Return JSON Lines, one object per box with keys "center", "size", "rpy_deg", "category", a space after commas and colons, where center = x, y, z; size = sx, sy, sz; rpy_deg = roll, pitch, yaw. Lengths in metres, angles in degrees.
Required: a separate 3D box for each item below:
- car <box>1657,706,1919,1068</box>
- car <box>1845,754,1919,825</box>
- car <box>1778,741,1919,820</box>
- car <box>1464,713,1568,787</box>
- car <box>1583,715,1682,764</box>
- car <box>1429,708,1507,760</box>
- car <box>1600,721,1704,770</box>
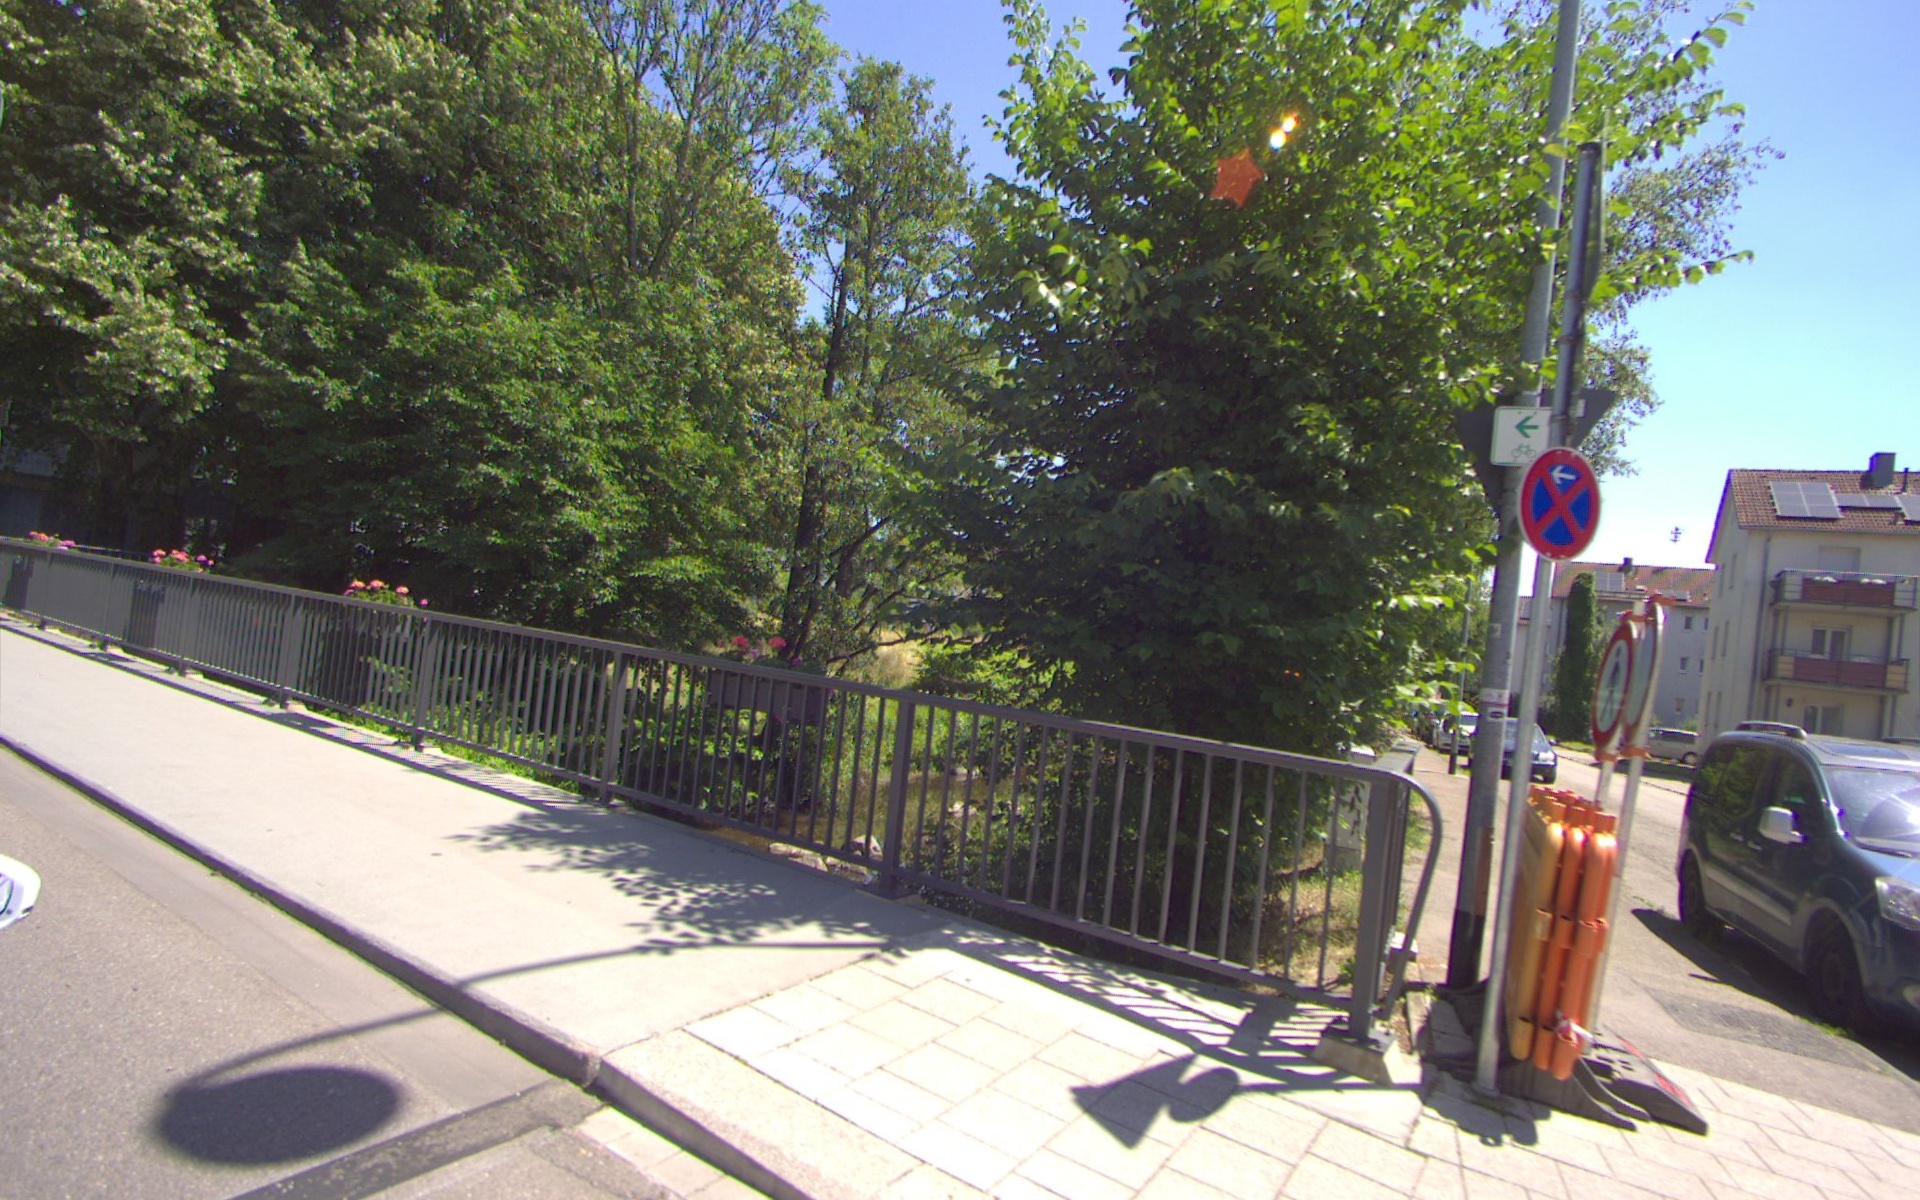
{"center": [6.529, 1.798, 6.993], "size": [1.718, 1.858, 4.356], "rpy_deg": [6, -3, 23], "category": "car"}
{"center": [26.371, 5.233, 26.568], "size": [3.926, 1.582, 2.001], "rpy_deg": [7, -1, 20], "category": "car"}
{"center": [26.690, 5.316, 29.362], "size": [3.931, 1.711, 1.971], "rpy_deg": [6, -1, 29], "category": "car"}
{"center": [14.131, 3.745, 25.773], "size": [1.728, 1.439, 4.515], "rpy_deg": [4, -3, 23], "category": "car"}
{"center": [34.922, 7.215, 52.347], "size": [3.931, 1.804, 1.998], "rpy_deg": [6, -1, 28], "category": "car"}
{"center": [17.214, 4.502, 34.291], "size": [1.874, 1.396, 4.516], "rpy_deg": [6, -3, 23], "category": "car"}
{"center": [34.490, 7.223, 50.287], "size": [3.931, 1.704, 1.999], "rpy_deg": [6, -2, 28], "category": "car"}
